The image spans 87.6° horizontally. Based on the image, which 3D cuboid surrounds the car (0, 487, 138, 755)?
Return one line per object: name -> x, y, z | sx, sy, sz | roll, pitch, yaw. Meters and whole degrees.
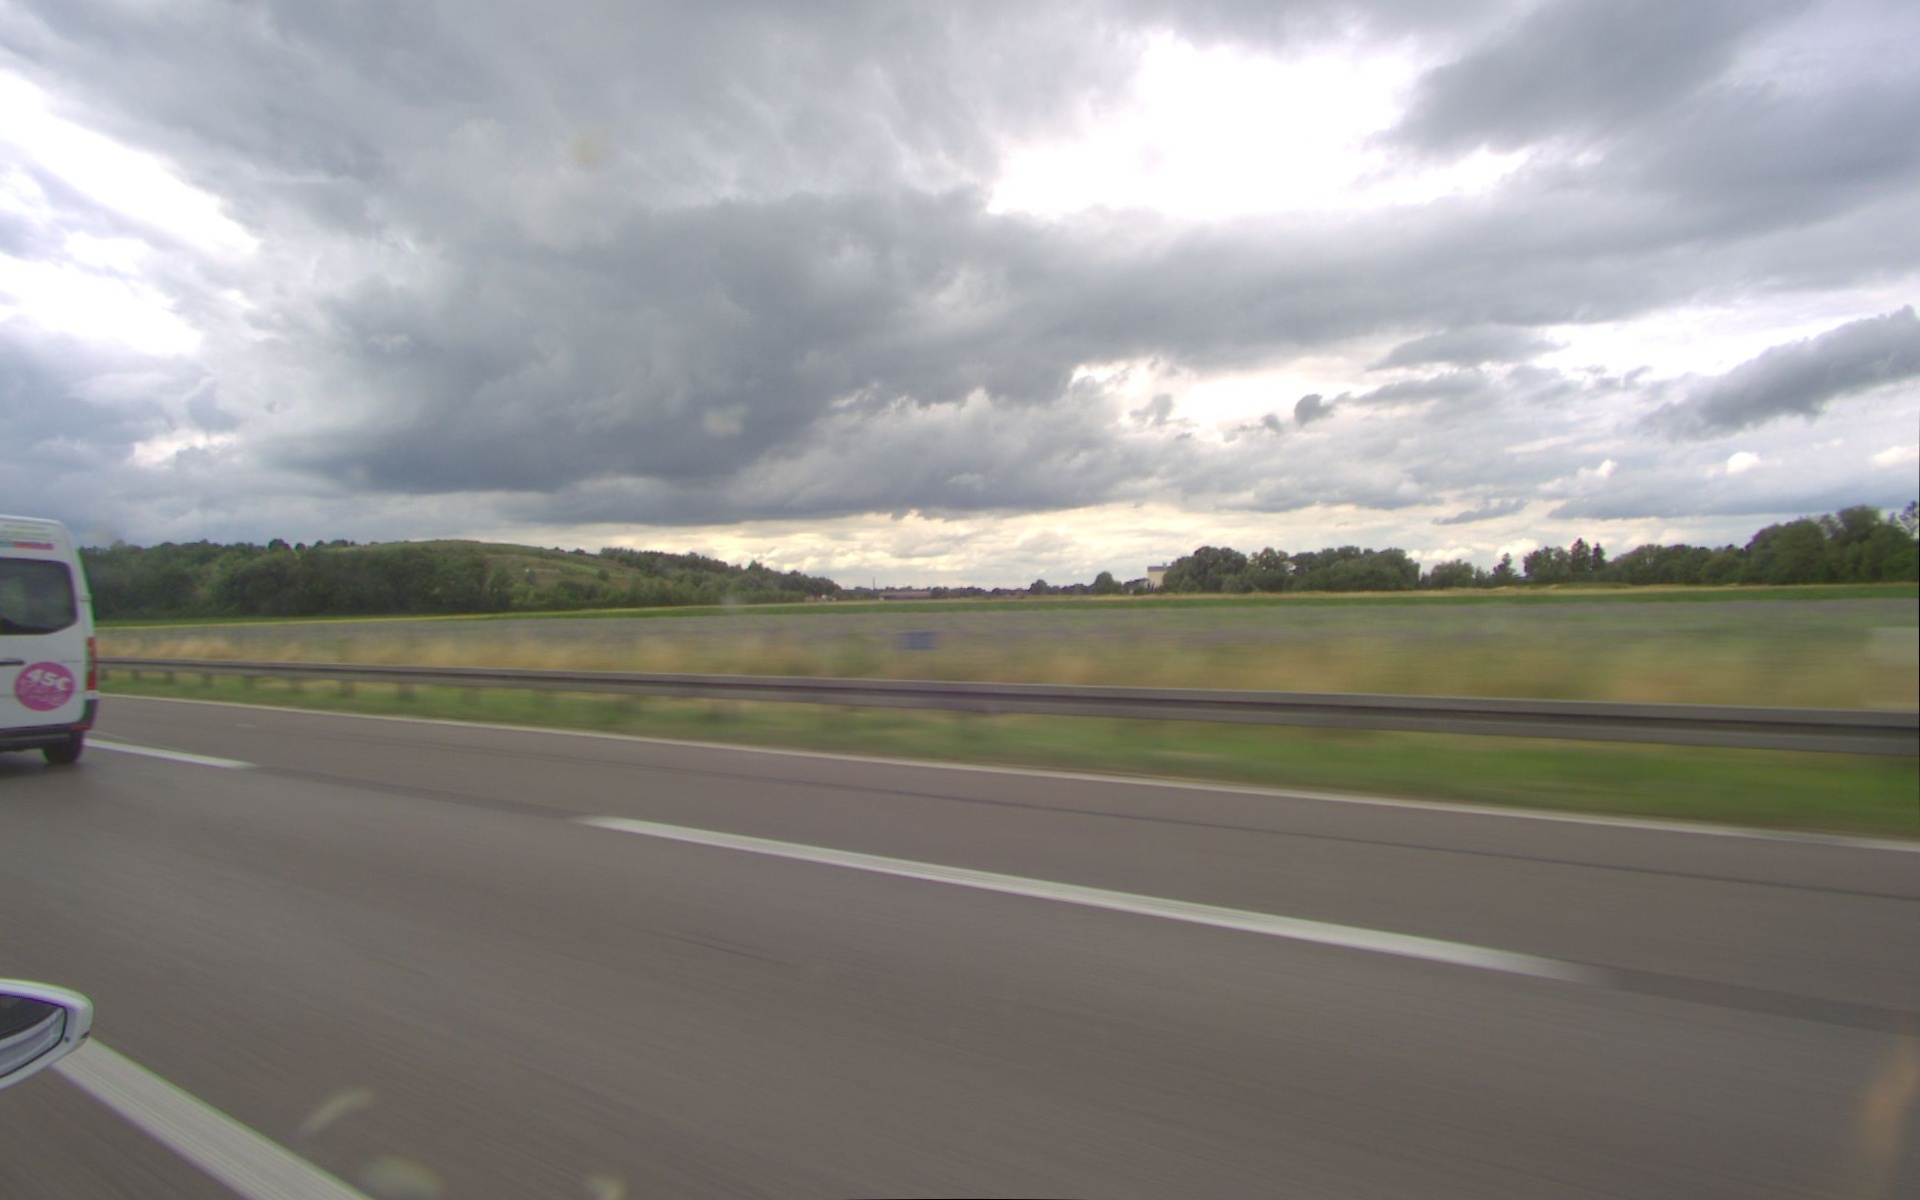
car -> -11.919, 0.234, 11.374 | 6.167, 2.601, 2.216 | -1, 0, 33
